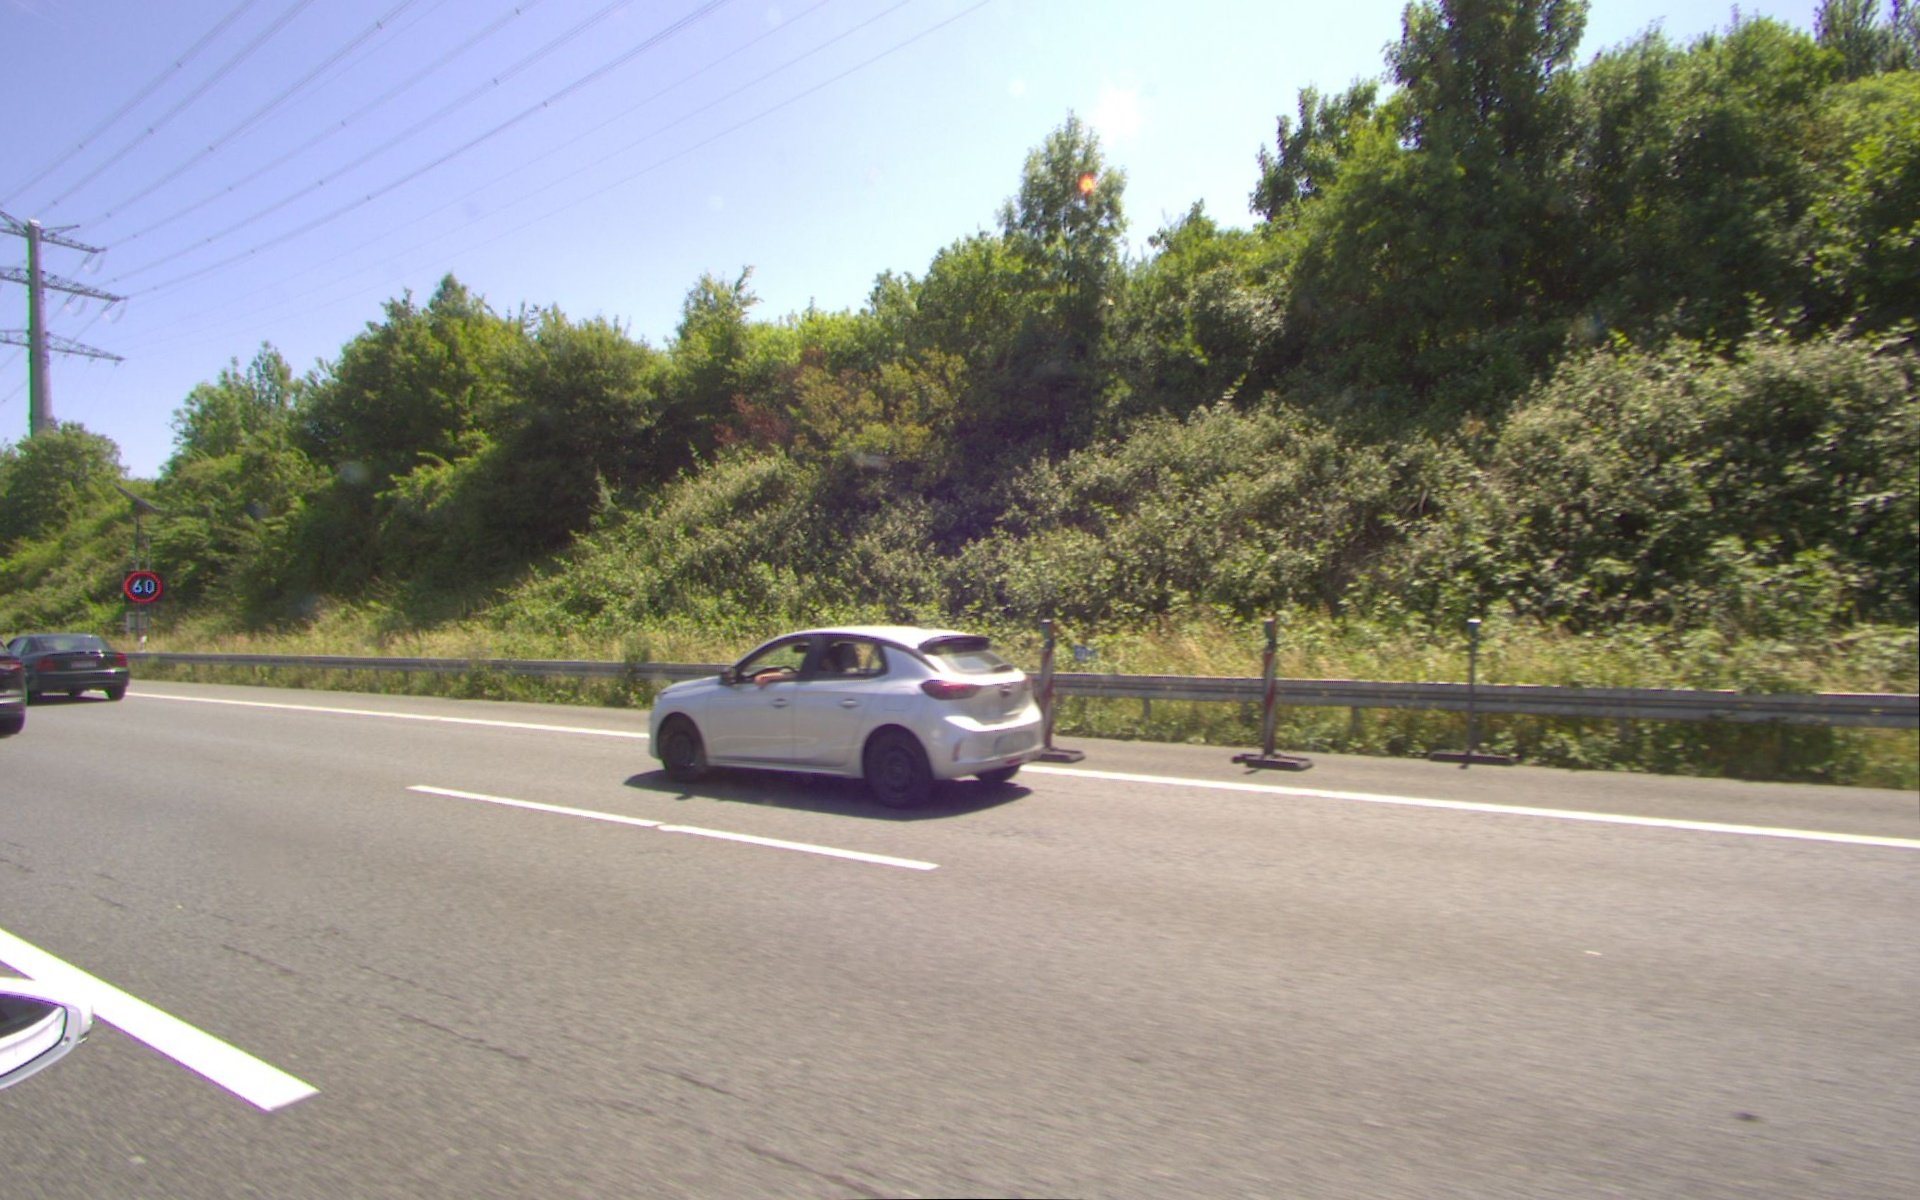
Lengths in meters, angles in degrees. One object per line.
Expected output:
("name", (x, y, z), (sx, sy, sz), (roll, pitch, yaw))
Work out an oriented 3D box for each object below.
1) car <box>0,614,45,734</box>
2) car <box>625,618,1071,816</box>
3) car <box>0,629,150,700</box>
("car", (-15.189, 1.024, 14.476), (4.367, 1.635, 1.825), (-1, -1, 32))
("car", (-1.124, 0.923, 9.343), (3.957, 1.489, 1.737), (-1, -1, 33))
("car", (-19.370, 1.324, 21.532), (4.240, 1.395, 1.732), (-1, -2, 31))
